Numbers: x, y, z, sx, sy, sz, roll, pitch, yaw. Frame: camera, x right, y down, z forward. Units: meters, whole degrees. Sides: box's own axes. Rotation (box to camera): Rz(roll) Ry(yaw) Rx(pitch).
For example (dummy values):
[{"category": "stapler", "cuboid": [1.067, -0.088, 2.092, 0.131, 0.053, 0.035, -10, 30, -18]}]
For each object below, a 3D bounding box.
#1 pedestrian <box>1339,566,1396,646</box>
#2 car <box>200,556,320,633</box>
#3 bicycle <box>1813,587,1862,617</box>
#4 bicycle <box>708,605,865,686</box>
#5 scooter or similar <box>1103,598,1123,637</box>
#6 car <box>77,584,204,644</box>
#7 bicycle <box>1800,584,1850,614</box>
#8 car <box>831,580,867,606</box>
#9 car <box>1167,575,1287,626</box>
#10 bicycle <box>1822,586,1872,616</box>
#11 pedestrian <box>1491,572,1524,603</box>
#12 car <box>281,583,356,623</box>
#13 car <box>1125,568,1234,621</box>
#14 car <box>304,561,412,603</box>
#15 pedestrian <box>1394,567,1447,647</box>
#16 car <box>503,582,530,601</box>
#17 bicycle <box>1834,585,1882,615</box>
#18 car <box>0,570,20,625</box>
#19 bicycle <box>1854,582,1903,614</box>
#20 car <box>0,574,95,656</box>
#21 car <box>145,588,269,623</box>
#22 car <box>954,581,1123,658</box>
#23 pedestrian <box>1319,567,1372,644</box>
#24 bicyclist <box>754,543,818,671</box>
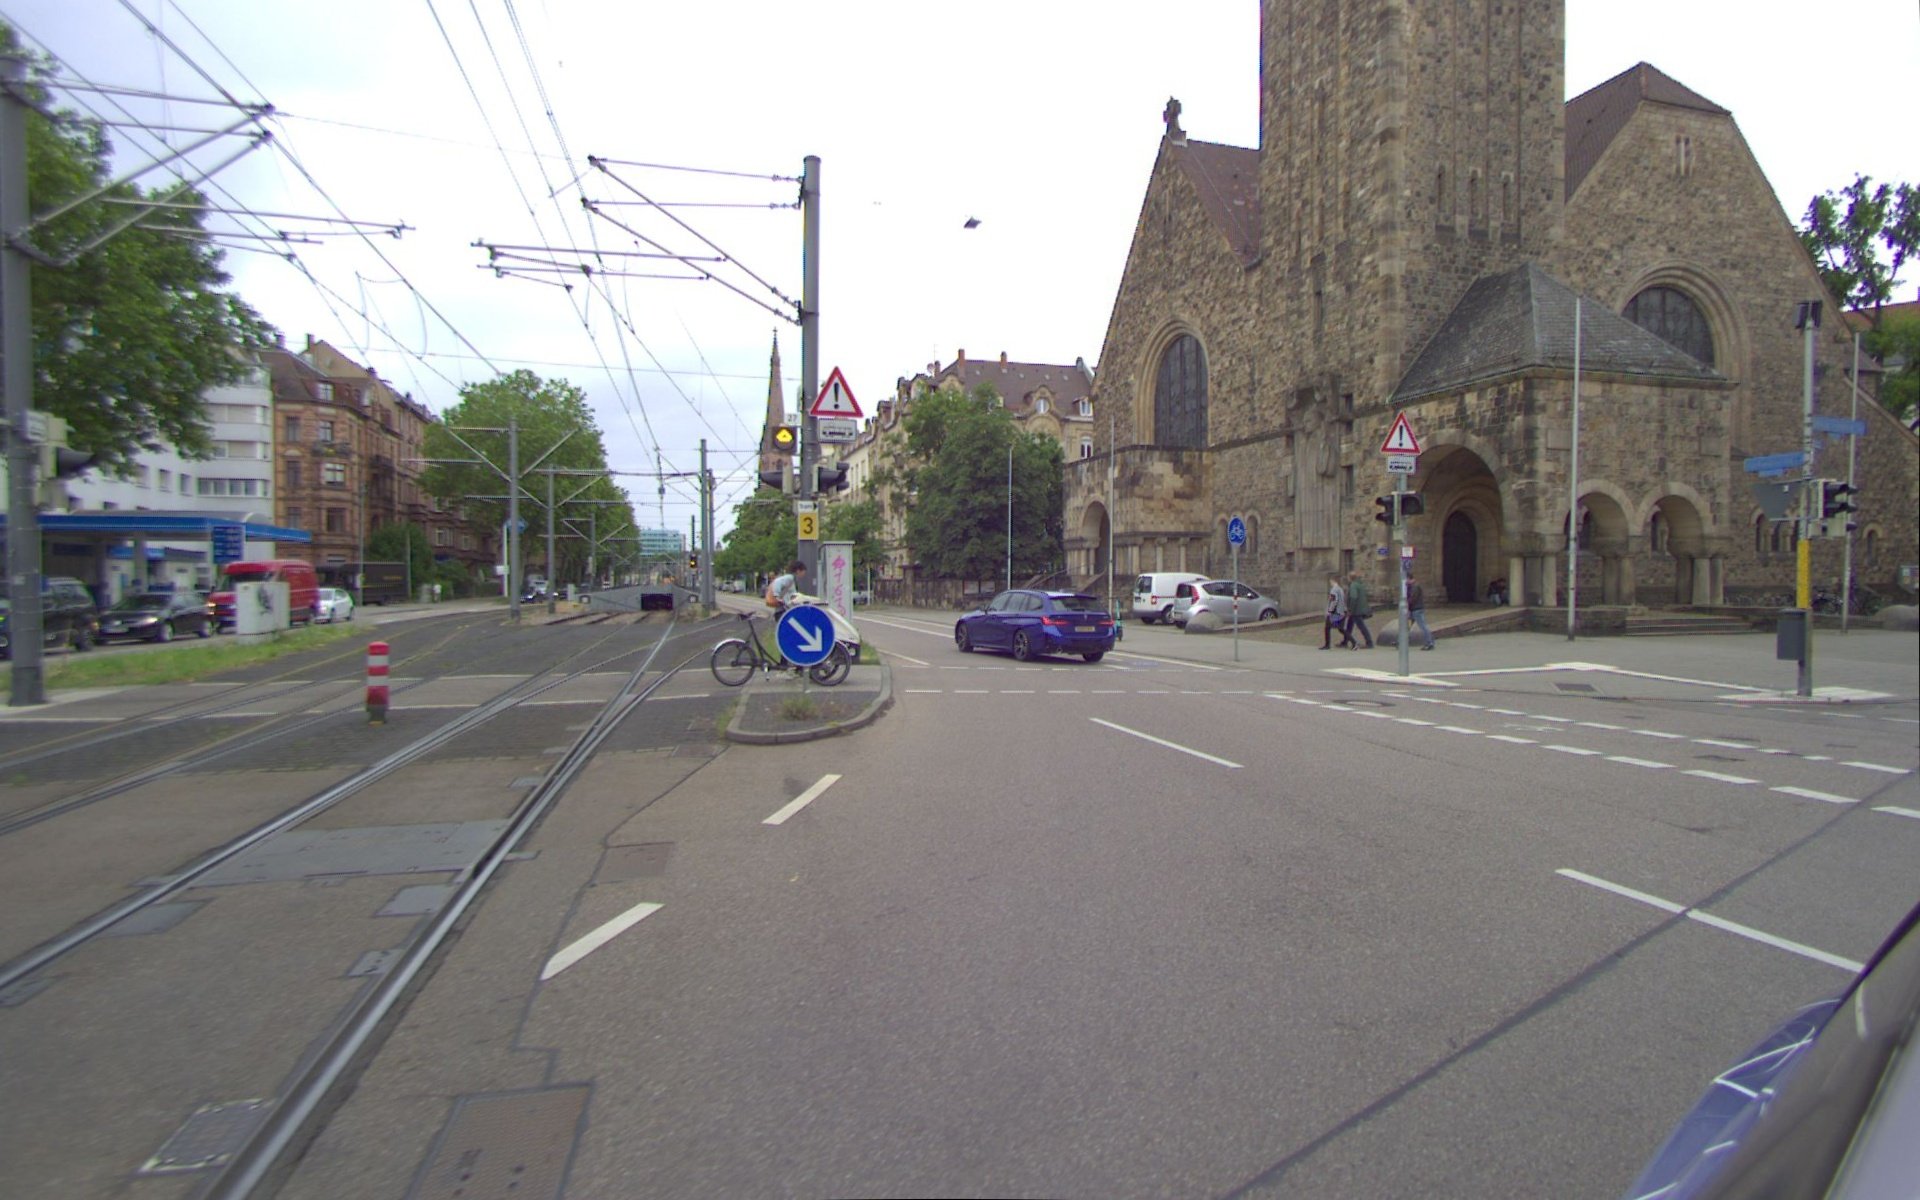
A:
[{"category": "pedestrian", "cuboid": [9.372, 0.118, 23.266, 0.952, 1.780, 0.806, -1, 3, -40]}, {"category": "car", "cuboid": [-25.416, -0.267, 36.989, 1.951, 2.570, 5.624, -1, 2, -17]}, {"category": "bicycle", "cuboid": [31.812, 0.061, 36.716, 0.304, 1.073, 1.387, 0, 1, -18]}, {"category": "bicycle", "cuboid": [-2.329, 0.590, 13.611, 2.017, 1.008, 0.554, -1, 1, -18]}, {"category": "scooter or similar", "cuboid": [4.271, 0.483, 28.269, 0.235, 1.066, 0.775, -1, 1, -15]}, {"category": "car", "cuboid": [-23.601, 0.341, 29.302, 1.652, 1.581, 3.475, -1, 2, -17]}, {"category": "bicycle", "cuboid": [31.158, -0.052, 36.467, 0.304, 1.073, 1.387, 0, 1, -18]}, {"category": "car", "cuboid": [-7.101, -0.464, 64.656, 1.652, 1.549, 3.475, -1, 2, -17]}, {"category": "car", "cuboid": [8.624, -0.025, 32.799, 3.395, 1.549, 1.622, -1, 1, -14]}, {"category": "bicycle", "cuboid": [32.387, 0.025, 36.962, 0.304, 1.073, 1.387, 0, 1, -18]}, {"category": "pedestrian", "cuboid": [17.210, -0.391, 31.828, 0.602, 0.963, 0.675, 0, 1, -18]}, {"category": "car", "cuboid": [-27.379, 0.092, 43.316, 1.652, 1.549, 4.159, -1, 2, -17]}, {"category": "car", "cuboid": [7.842, -0.221, 36.183, 3.395, 1.815, 1.691, -1, 1, -14]}, {"category": "car", "cuboid": [-41.603, -1.267, 70.237, 2.212, 2.762, 7.084, -1, 1, 11]}, {"category": "pedestrian", "cuboid": [10.145, 0.129, 22.316, 0.952, 1.706, 0.676, -1, 3, -41]}, {"category": "car", "cuboid": [-37.609, -0.711, 85.864, 1.652, 1.549, 3.475, -1, 2, -17]}, {"category": "bicycle", "cuboid": [32.994, -0.011, 37.211, 0.304, 1.073, 1.346, 0, 1, -18]}, {"category": "car", "cuboid": [-37.647, -0.050, 37.575, 1.951, 2.122, 5.099, -1, 2, -17]}, {"category": "bicycle", "cuboid": [33.791, -0.092, 37.235, 0.304, 1.161, 1.346, 0, 1, -18]}, {"category": "car", "cuboid": [-21.852, 0.289, 23.179, 1.652, 1.732, 3.959, -1, 2, -17]}, {"category": "car", "cuboid": [-32.854, 0.212, 44.274, 4.012, 1.390, 1.739, -1, 1, -16]}, {"category": "car", "cuboid": [1.501, 0.316, 21.158, 1.783, 1.423, 4.329, -1, 1, -22]}, {"category": "pedestrian", "cuboid": [8.705, 0.109, 22.835, 0.950, 1.693, 0.635, 0, 3, -34]}, {"category": "bicyclist", "cuboid": [-2.342, 0.082, 13.582, 0.738, 1.674, 0.617, -1, 1, -19]}]
